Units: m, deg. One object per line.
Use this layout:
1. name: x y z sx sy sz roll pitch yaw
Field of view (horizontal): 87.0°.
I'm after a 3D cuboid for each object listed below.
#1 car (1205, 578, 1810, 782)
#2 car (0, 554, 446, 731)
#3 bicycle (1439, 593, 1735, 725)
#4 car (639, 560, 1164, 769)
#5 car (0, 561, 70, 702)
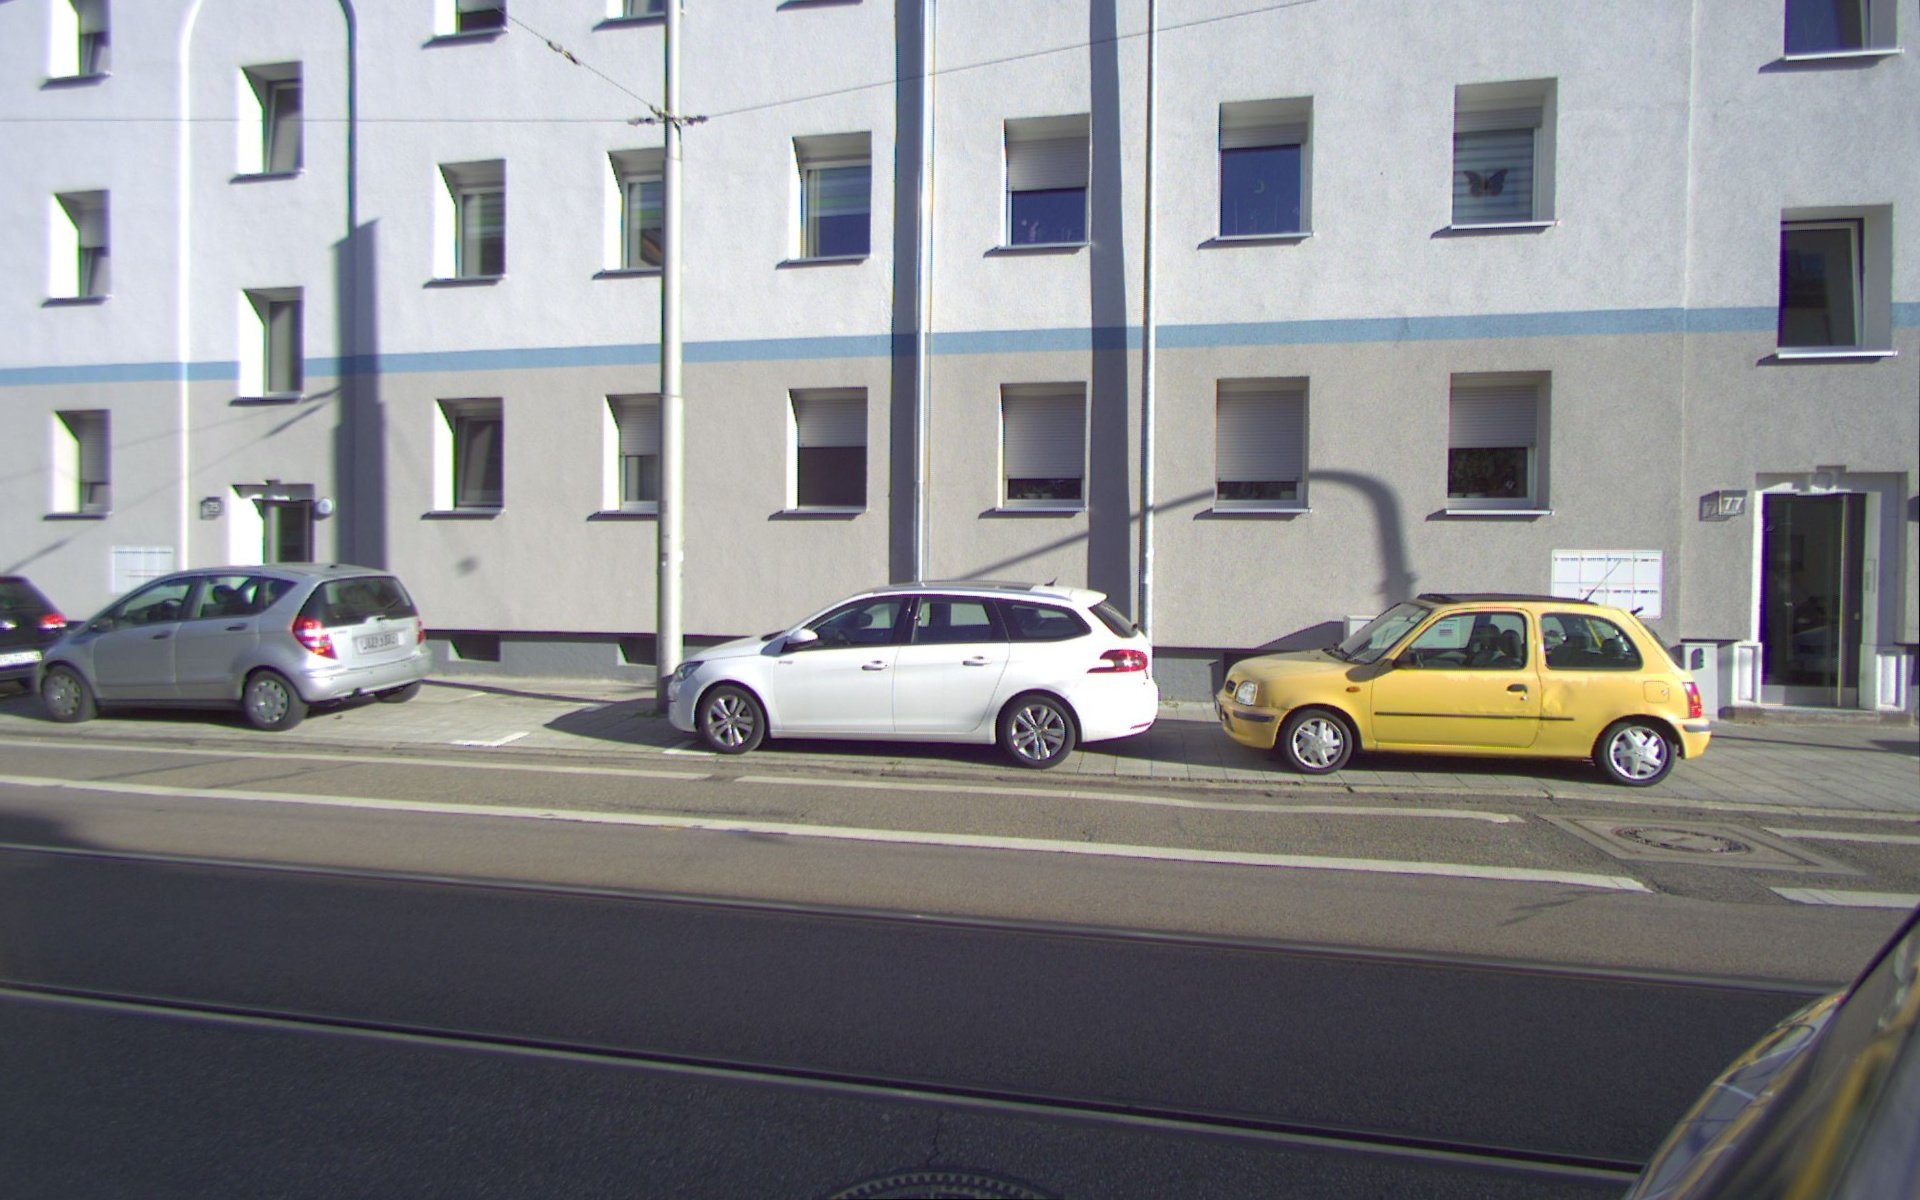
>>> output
1. car: 4.215 0.560 8.437 4.134 1.448 1.514 0 2 11
2. car: -7.758 0.340 10.740 3.844 1.589 1.755 1 4 13
3. bicycle: 6.294 0.557 10.339 2.289 1.212 1.096 1 1 10
4. car: -0.447 0.456 9.141 4.438 1.590 1.680 1 3 11
5. car: -12.673 0.343 11.650 3.945 1.556 1.592 1 3 12
